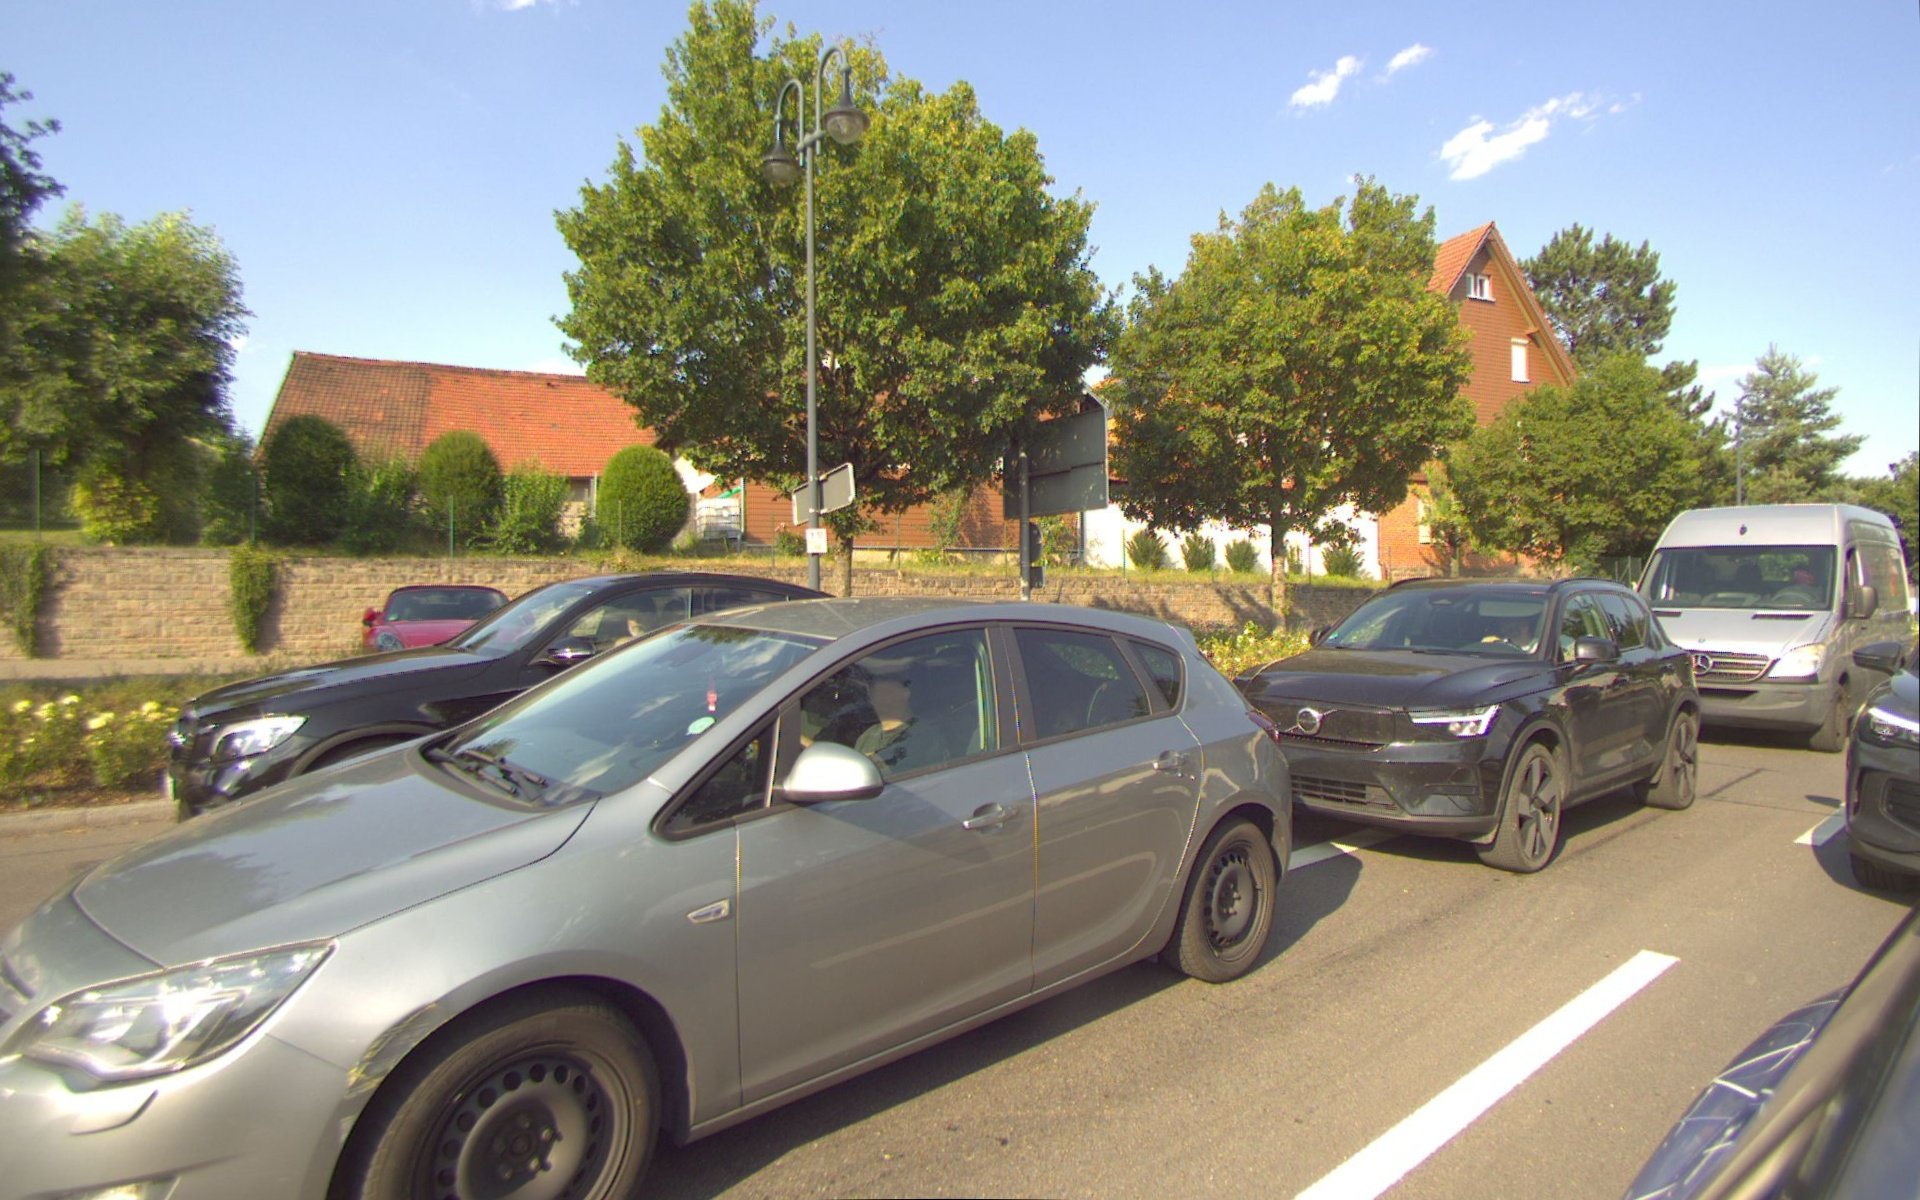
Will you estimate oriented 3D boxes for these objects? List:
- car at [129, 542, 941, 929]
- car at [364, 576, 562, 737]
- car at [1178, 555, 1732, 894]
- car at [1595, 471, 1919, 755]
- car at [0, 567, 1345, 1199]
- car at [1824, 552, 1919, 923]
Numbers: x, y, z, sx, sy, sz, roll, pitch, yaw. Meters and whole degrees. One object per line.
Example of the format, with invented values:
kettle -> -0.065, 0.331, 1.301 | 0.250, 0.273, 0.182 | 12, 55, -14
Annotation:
car -> -2.332, 0.532, 6.501 | 1.762, 1.628, 4.494 | 2, 2, 44
car -> -5.883, 0.520, 11.718 | 1.743, 1.510, 4.156 | 0, 0, -31
car -> 3.575, 0.567, 6.949 | 4.242, 1.629, 1.844 | 0, 2, -40
car -> 9.713, 0.084, 11.949 | 5.938, 2.601, 1.992 | 0, 1, -40
car -> -0.546, 0.664, 3.526 | 4.244, 1.471, 1.765 | 0, 2, -42
car -> 6.226, 0.617, 5.340 | 4.242, 1.629, 1.844 | 0, 2, -40
